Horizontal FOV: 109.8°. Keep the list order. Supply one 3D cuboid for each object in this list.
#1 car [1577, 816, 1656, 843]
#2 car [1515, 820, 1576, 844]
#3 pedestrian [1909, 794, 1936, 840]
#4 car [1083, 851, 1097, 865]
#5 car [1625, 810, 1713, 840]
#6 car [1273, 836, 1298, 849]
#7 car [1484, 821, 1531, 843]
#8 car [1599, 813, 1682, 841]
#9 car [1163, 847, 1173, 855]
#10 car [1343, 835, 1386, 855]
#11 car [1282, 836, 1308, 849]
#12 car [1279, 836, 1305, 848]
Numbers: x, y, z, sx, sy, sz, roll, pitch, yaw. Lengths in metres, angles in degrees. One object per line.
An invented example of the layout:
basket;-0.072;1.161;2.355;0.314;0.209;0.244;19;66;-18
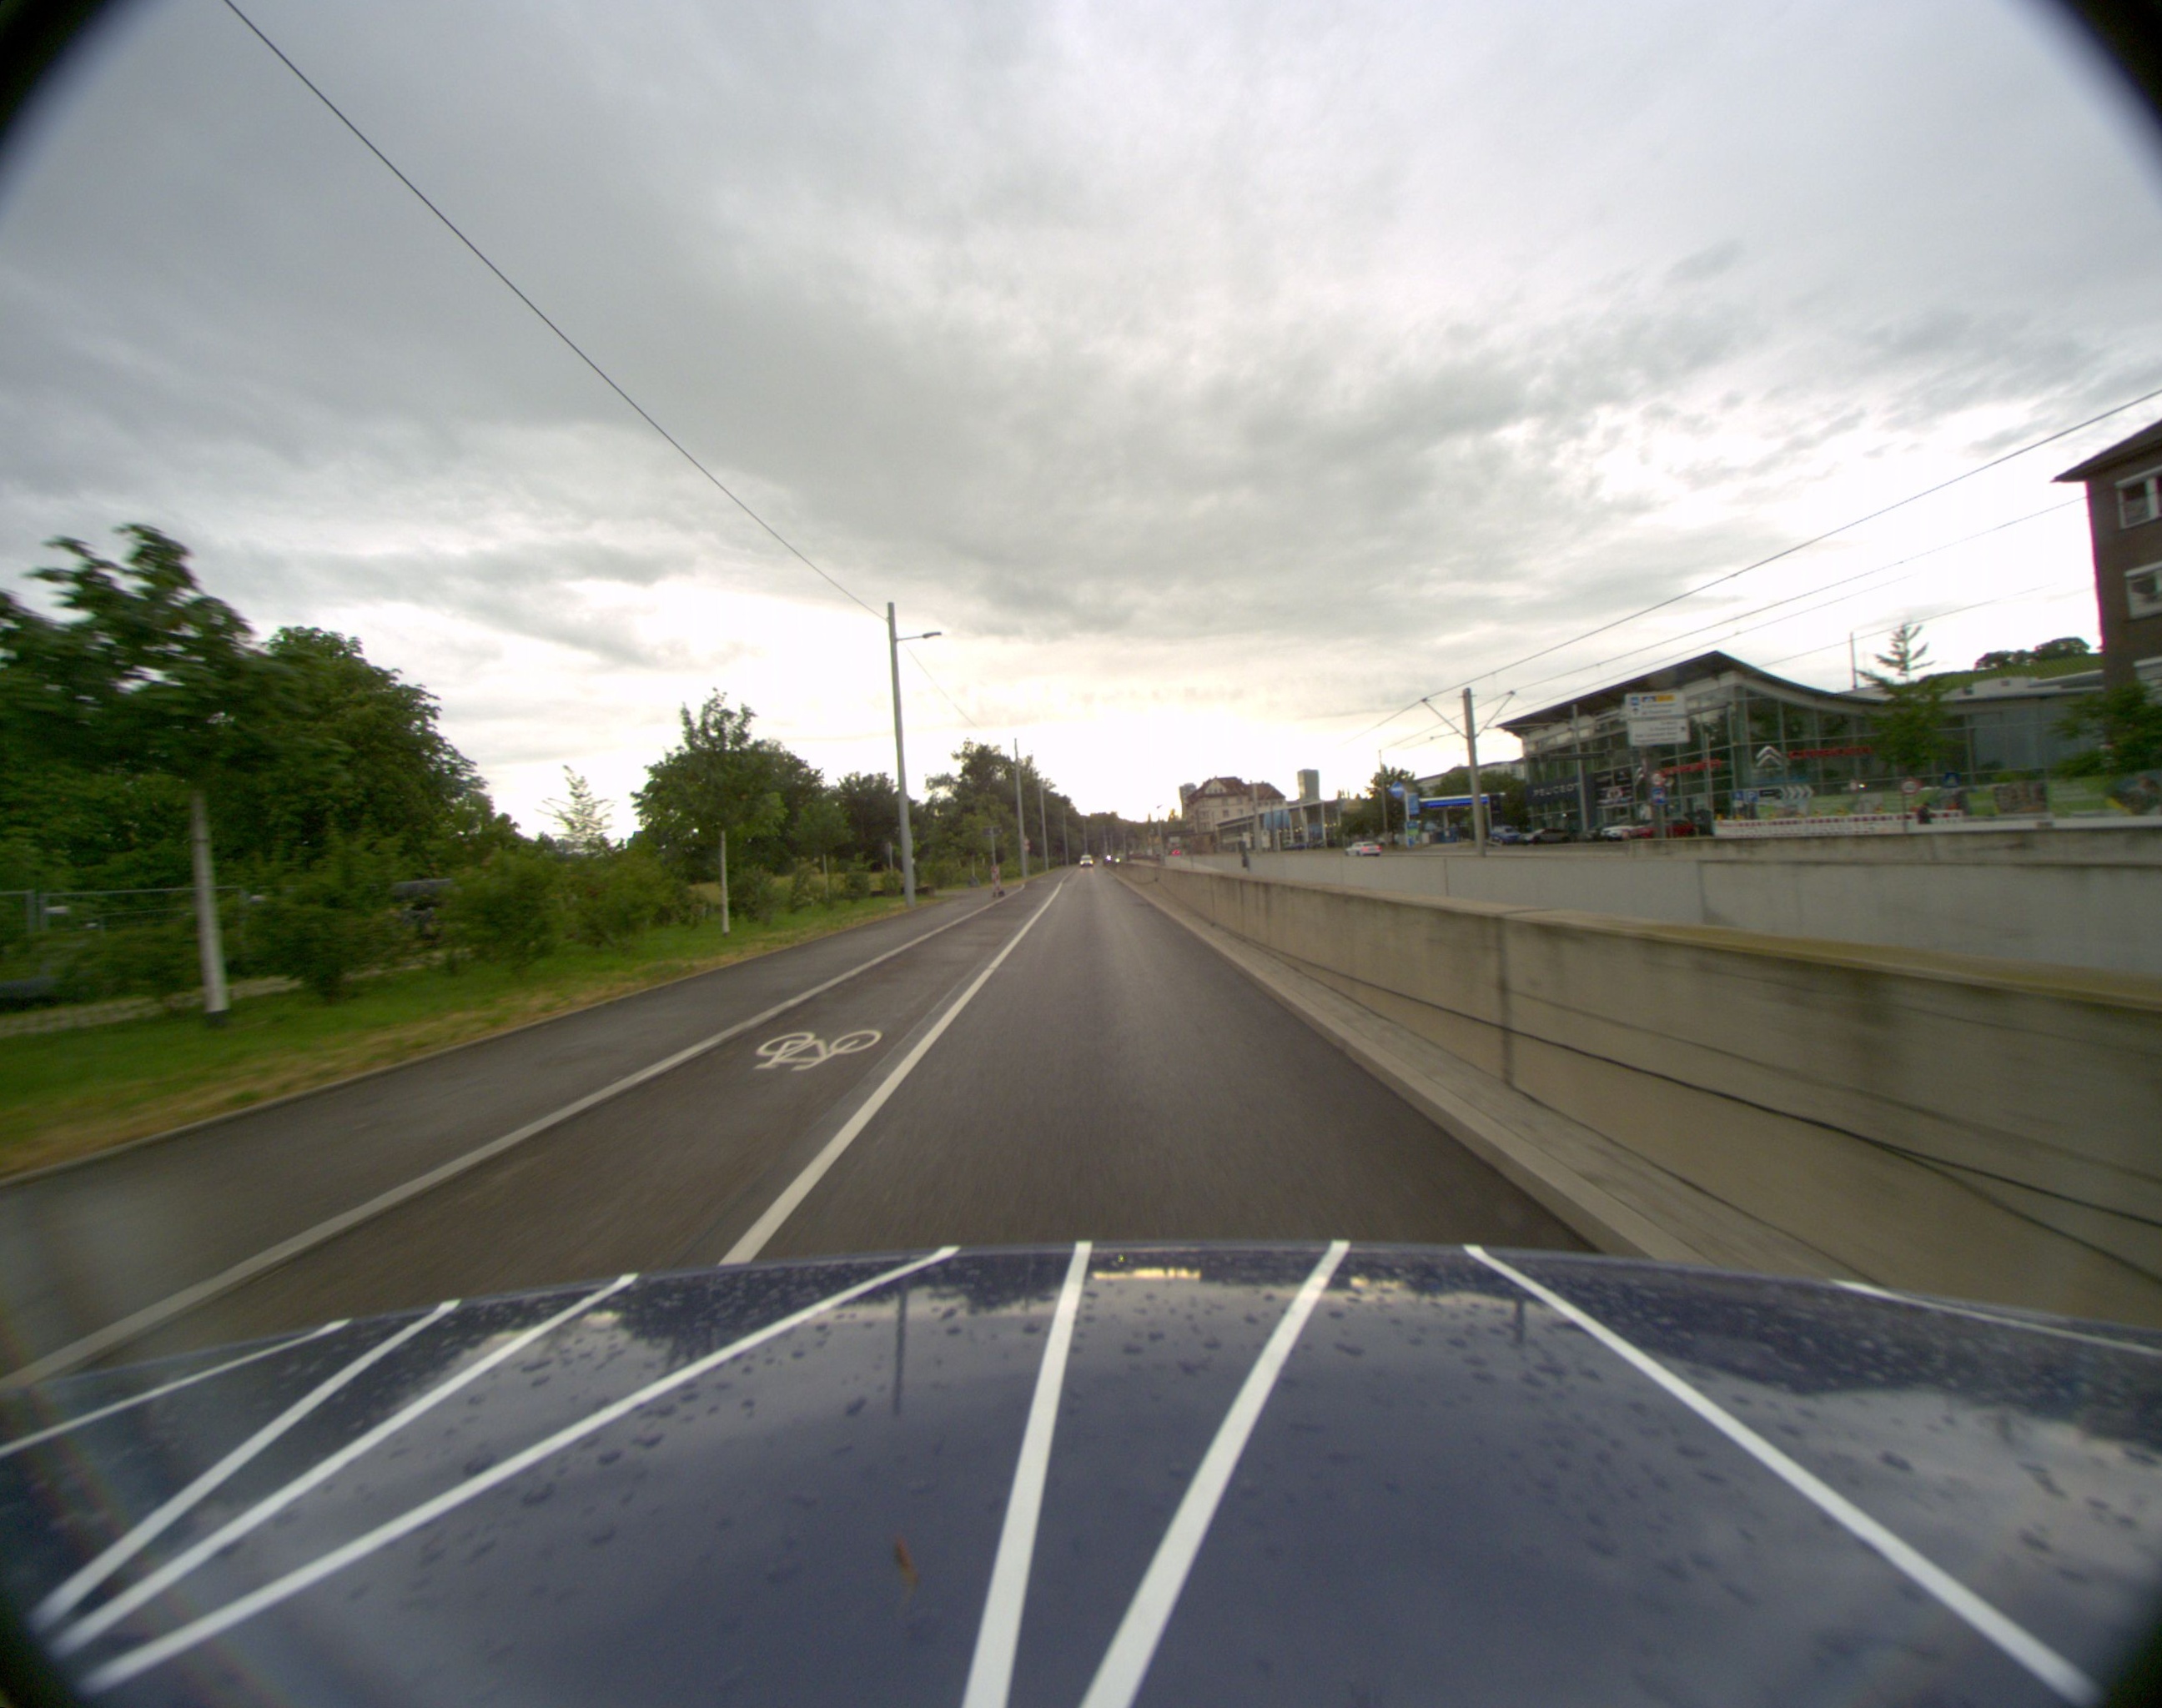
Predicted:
car;41.095;-1.878;58.360;4.577;1.750;2.000;-4;0;0
car;40.454;-1.925;66.222;3.997;1.761;2.000;-4;0;0
pedestrian;37.332;-1.624;33.711;0.581;2.002;0.728;-3;2;-37
car;1.340;0.611;114.285;1.998;2.002;4.000;-2;0;0
car;41.352;-2.031;53.465;4.577;1.750;2.000;-4;0;0
car;38.007;-2.148;141.279;3.997;2.002;2.000;-4;0;1
car;39.762;-2.017;70.903;1.999;1.761;3.999;-4;0;-1
car;41.092;-1.976;55.839;4.577;1.750;2.000;-4;0;0
car;24.870;-0.907;216.594;2.271;2.002;4.000;-4;0;0
car;26.524;-0.783;71.268;2.119;1.706;4.579;-4;0;-2
car;38.330;-2.012;136.061;3.997;2.002;2.000;-4;0;1
car;38.413;-2.203;138.465;3.997;2.002;2.000;-4;0;1
